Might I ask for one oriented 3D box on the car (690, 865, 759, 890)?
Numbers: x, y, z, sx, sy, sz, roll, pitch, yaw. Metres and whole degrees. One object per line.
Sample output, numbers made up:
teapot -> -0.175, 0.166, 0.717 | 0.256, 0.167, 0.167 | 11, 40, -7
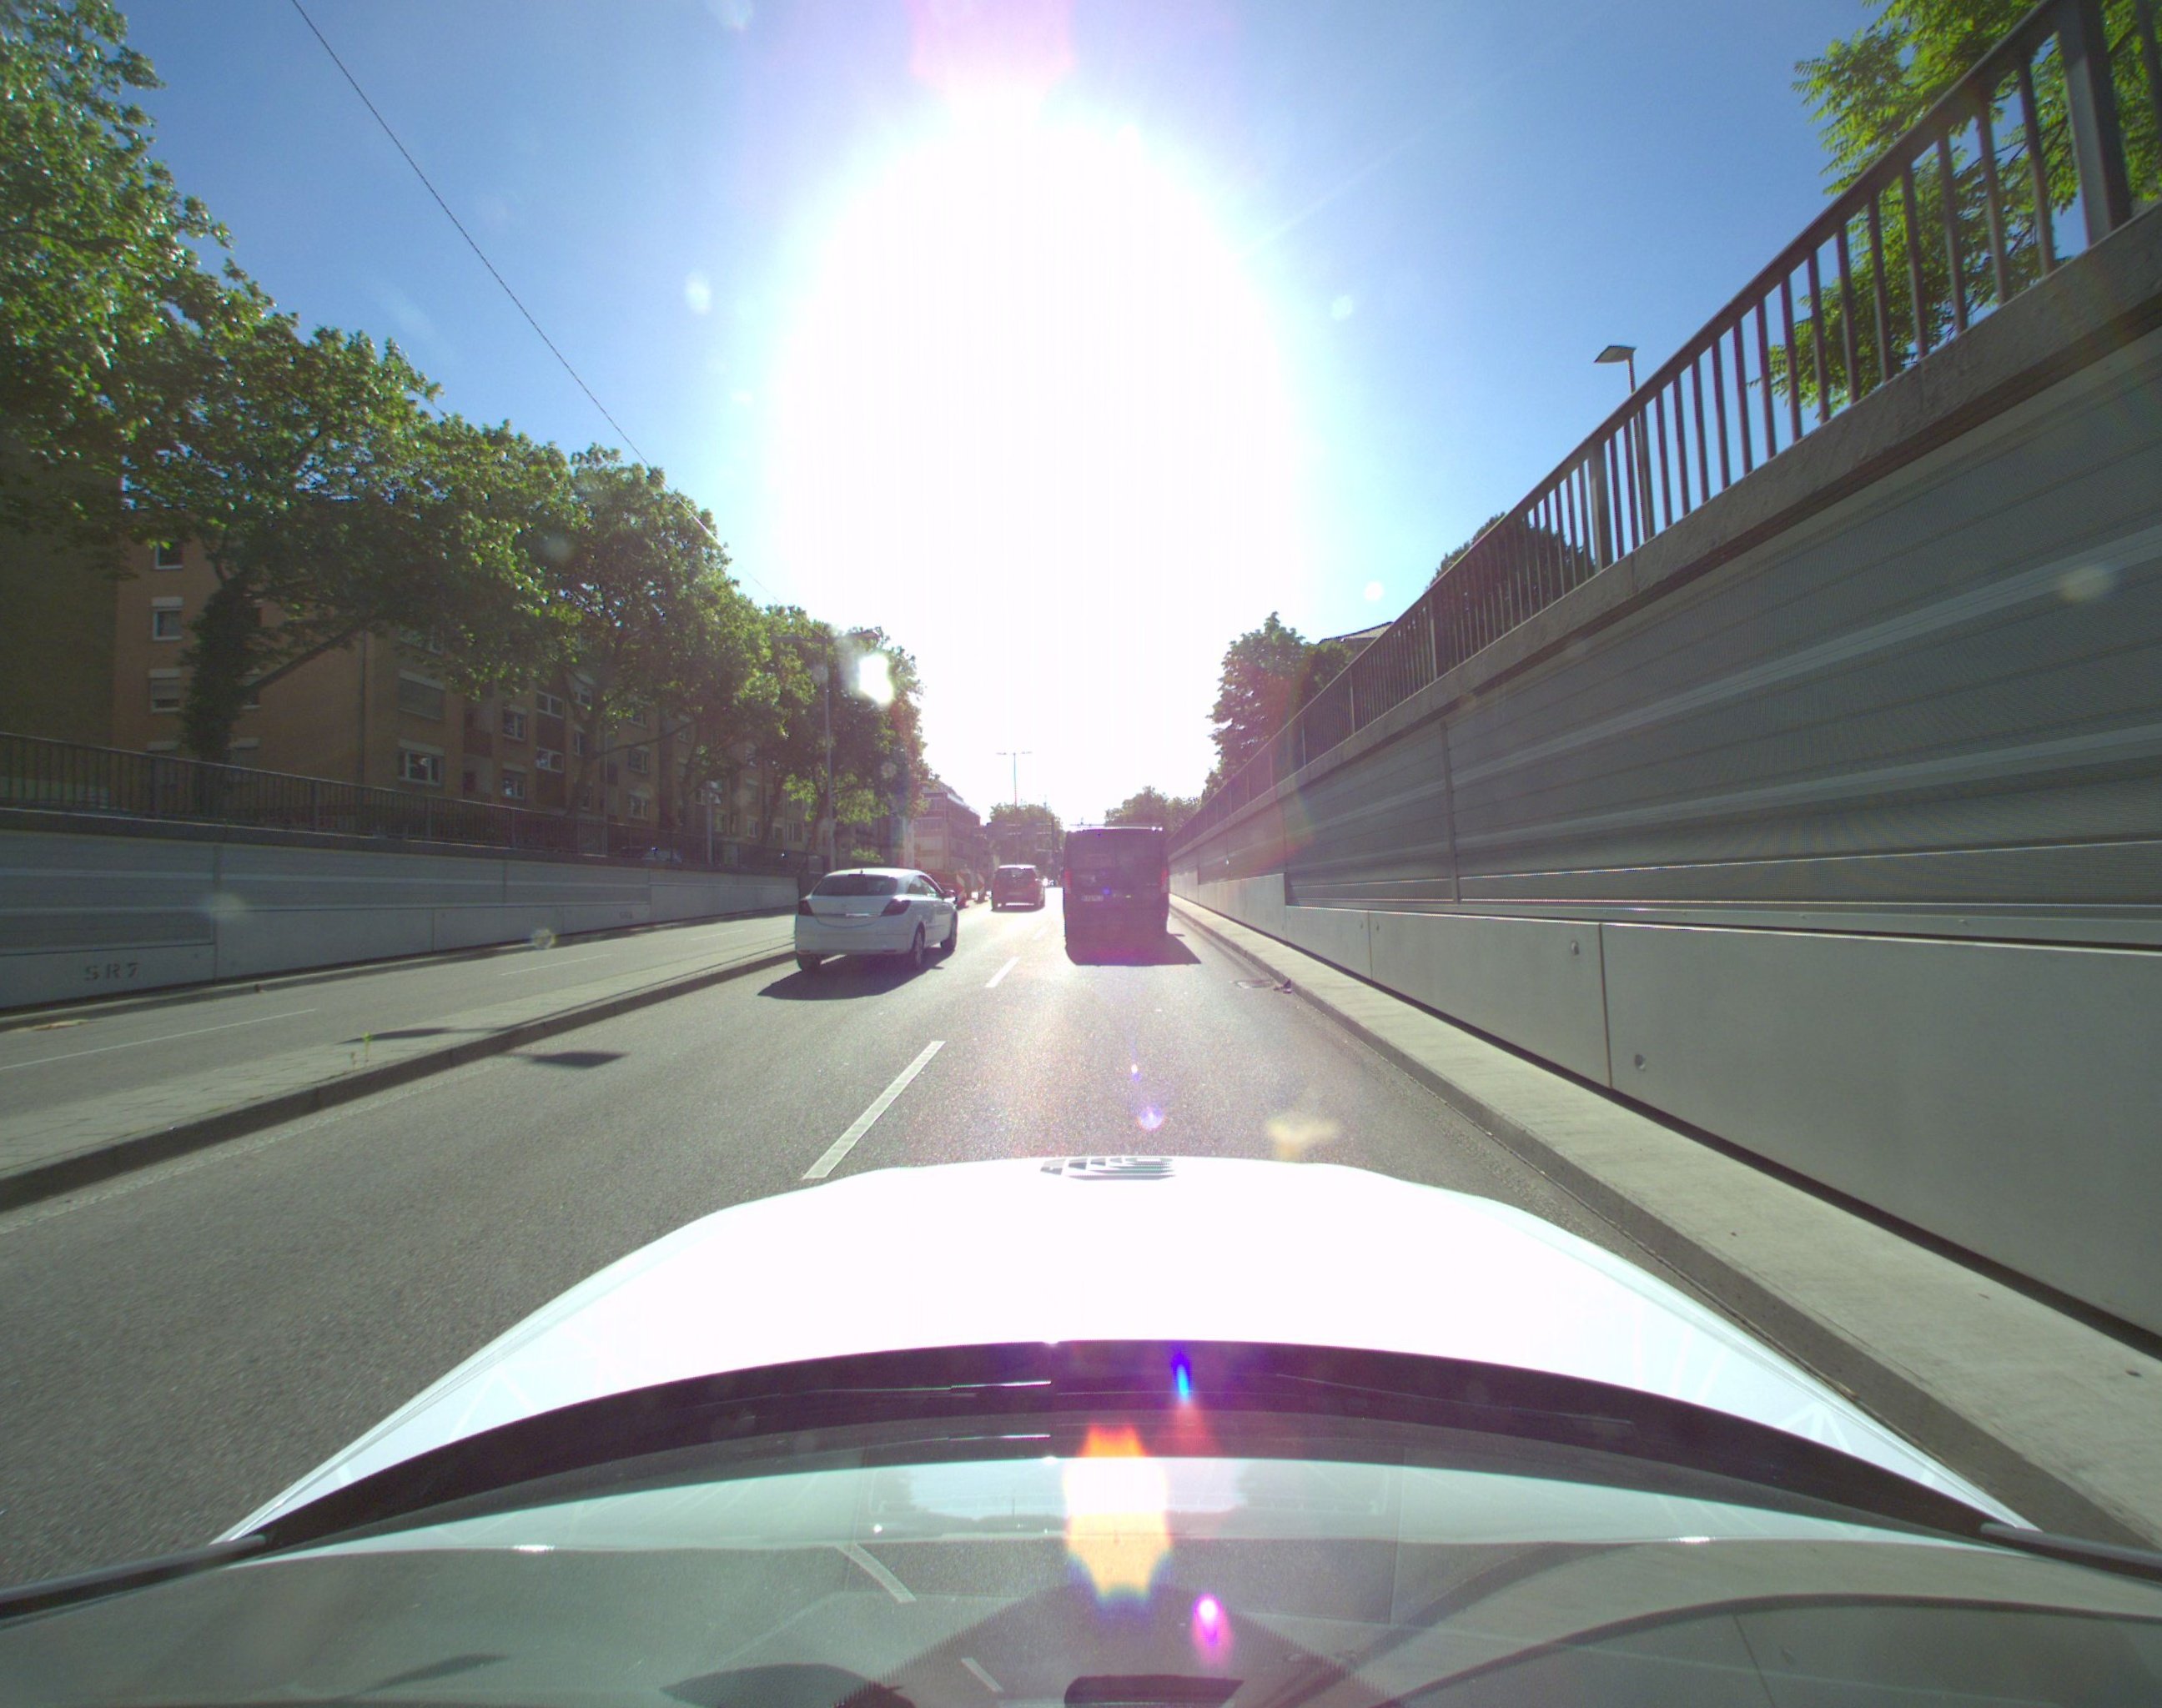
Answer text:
car -> -20.542, 1.394, 47.123 | 1.986, 1.389, 4.173 | -1, -2, 2

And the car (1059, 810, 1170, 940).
car -> 0.686, 0.433, 17.213 | 2.022, 2.403, 3.974 | -1, -1, 2

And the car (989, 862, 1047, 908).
car -> -2.147, 1.058, 28.411 | 1.683, 1.484, 3.319 | -1, -1, 1

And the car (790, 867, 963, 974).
car -> -2.988, 0.919, 12.695 | 1.613, 1.403, 3.853 | -1, -1, 2

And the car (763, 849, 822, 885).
car -> -20.172, 0.976, 57.179 | 1.985, 2.360, 5.422 | -1, -2, 3

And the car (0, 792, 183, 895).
car -> -21.592, -0.153, 16.402 | 1.958, 1.961, 4.415 | -1, -2, 2
